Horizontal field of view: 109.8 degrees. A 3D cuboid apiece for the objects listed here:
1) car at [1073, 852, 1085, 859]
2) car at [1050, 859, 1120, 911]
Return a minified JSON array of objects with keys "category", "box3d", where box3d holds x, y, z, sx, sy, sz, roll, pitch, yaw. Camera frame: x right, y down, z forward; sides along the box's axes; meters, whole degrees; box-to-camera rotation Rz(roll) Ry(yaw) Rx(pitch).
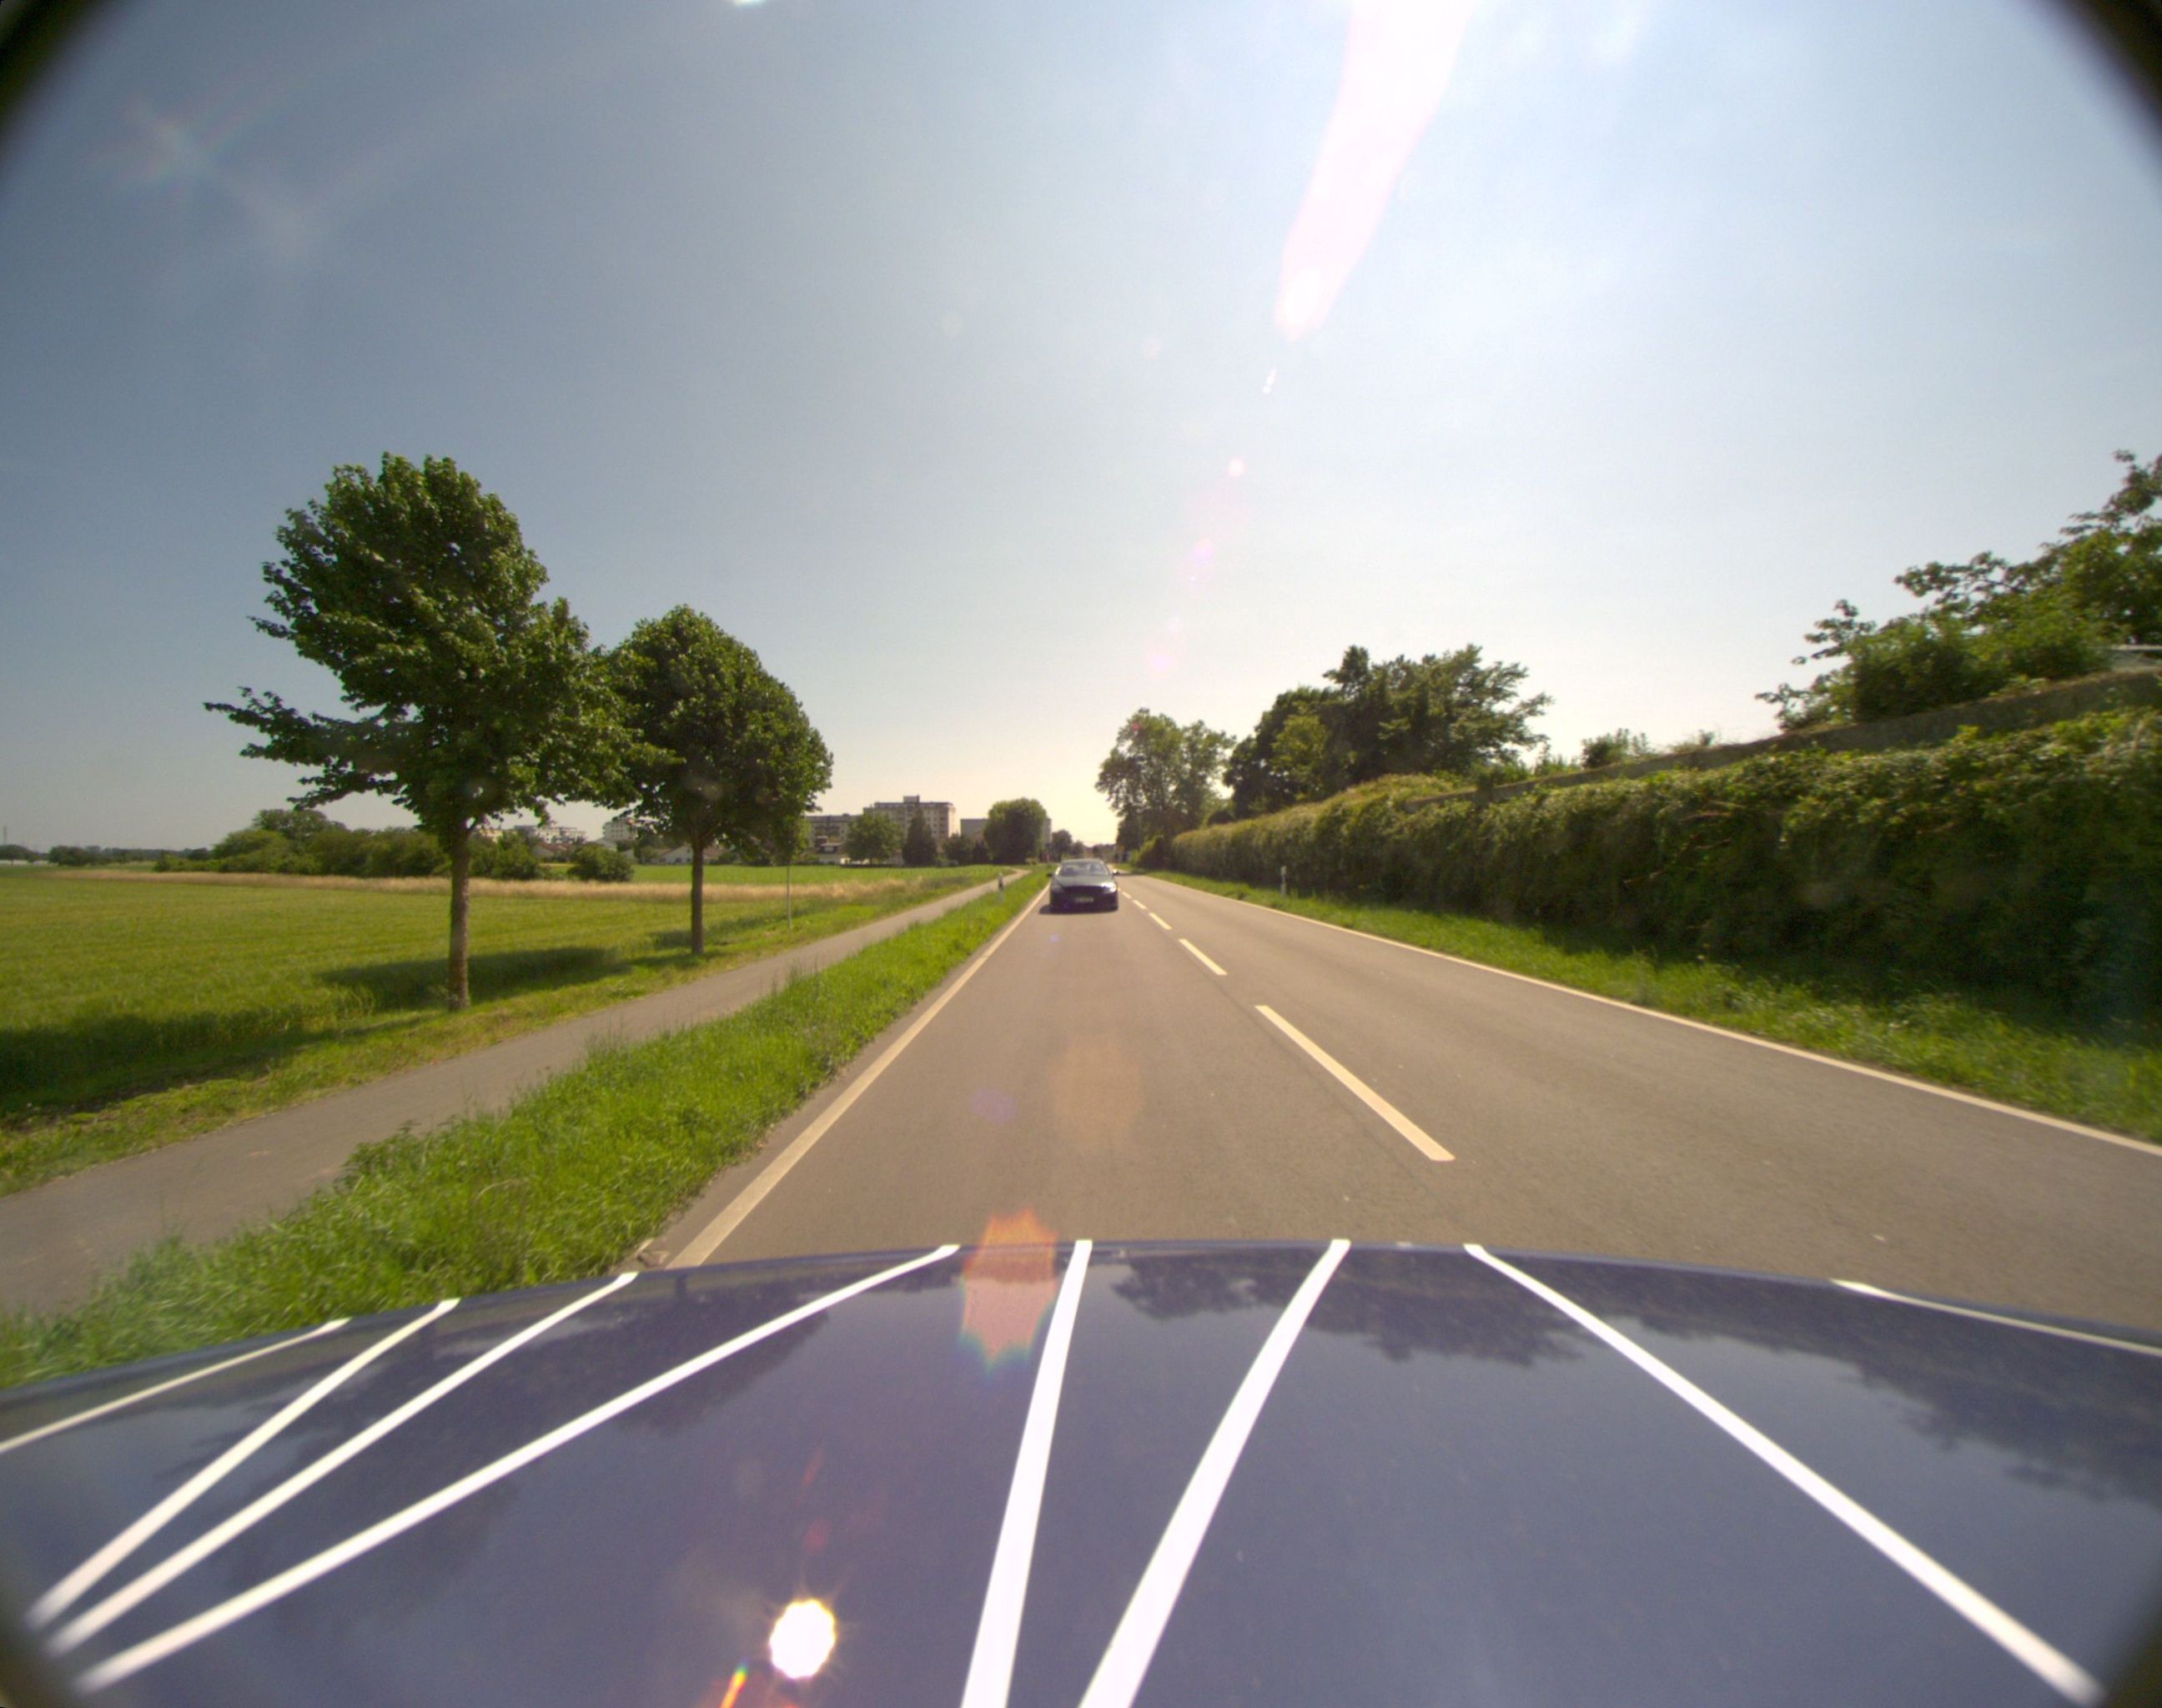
[{"category":"car","box3d":[-0.620,0.434,206.893,2.152,1.940,5.242,1,0,-11]},{"category":"car","box3d":[0.025,0.888,24.185,1.889,1.429,4.837,-1,0,-3]}]
